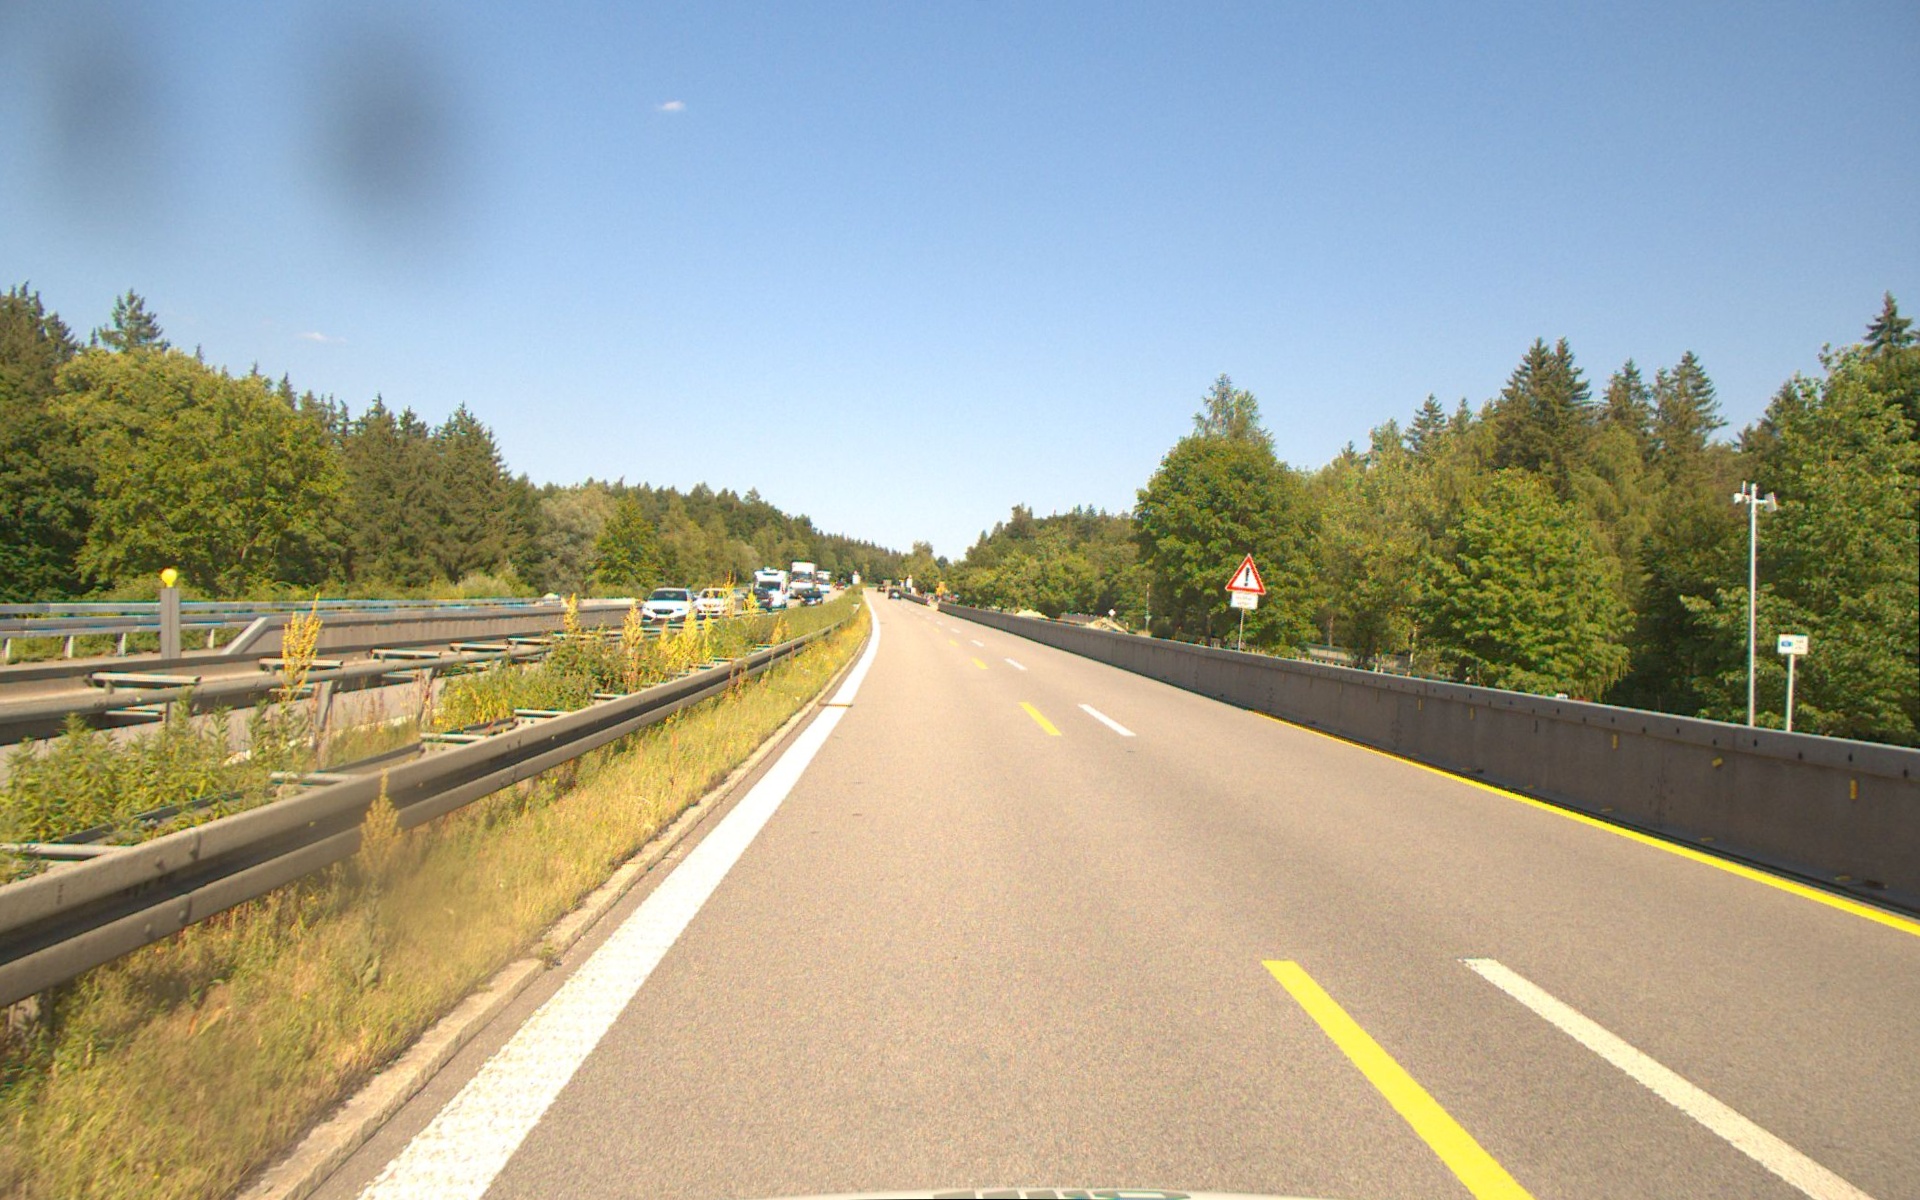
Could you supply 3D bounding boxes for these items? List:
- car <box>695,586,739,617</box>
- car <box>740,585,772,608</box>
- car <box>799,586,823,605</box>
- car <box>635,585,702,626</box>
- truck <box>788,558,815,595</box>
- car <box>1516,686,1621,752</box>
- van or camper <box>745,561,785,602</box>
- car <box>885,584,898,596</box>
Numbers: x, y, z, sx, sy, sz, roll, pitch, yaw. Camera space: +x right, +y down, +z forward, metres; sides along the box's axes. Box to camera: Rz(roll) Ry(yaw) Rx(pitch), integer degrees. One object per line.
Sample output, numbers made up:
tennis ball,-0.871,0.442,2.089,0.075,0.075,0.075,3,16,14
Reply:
car,-11.987,0.047,81.870,1.667,1.457,4.953,0,0,-3
car,-13.875,-0.261,112.720,1.706,1.457,5.232,-1,1,-3
car,-12.007,-0.356,133.208,1.706,1.557,3.998,0,0,-2
car,-10.921,0.194,62.278,1.845,1.457,4.981,2,0,-3
truck,-17.993,-2.667,188.101,2.715,4.159,5.472,1,0,-3
car,18.605,3.601,50.734,1.728,1.682,3.881,2,0,0
van or camper,-14.789,-1.400,126.130,2.358,3.002,7.519,2,0,-2
car,-9.582,-1.391,231.271,1.709,1.491,4.291,3,0,-4
